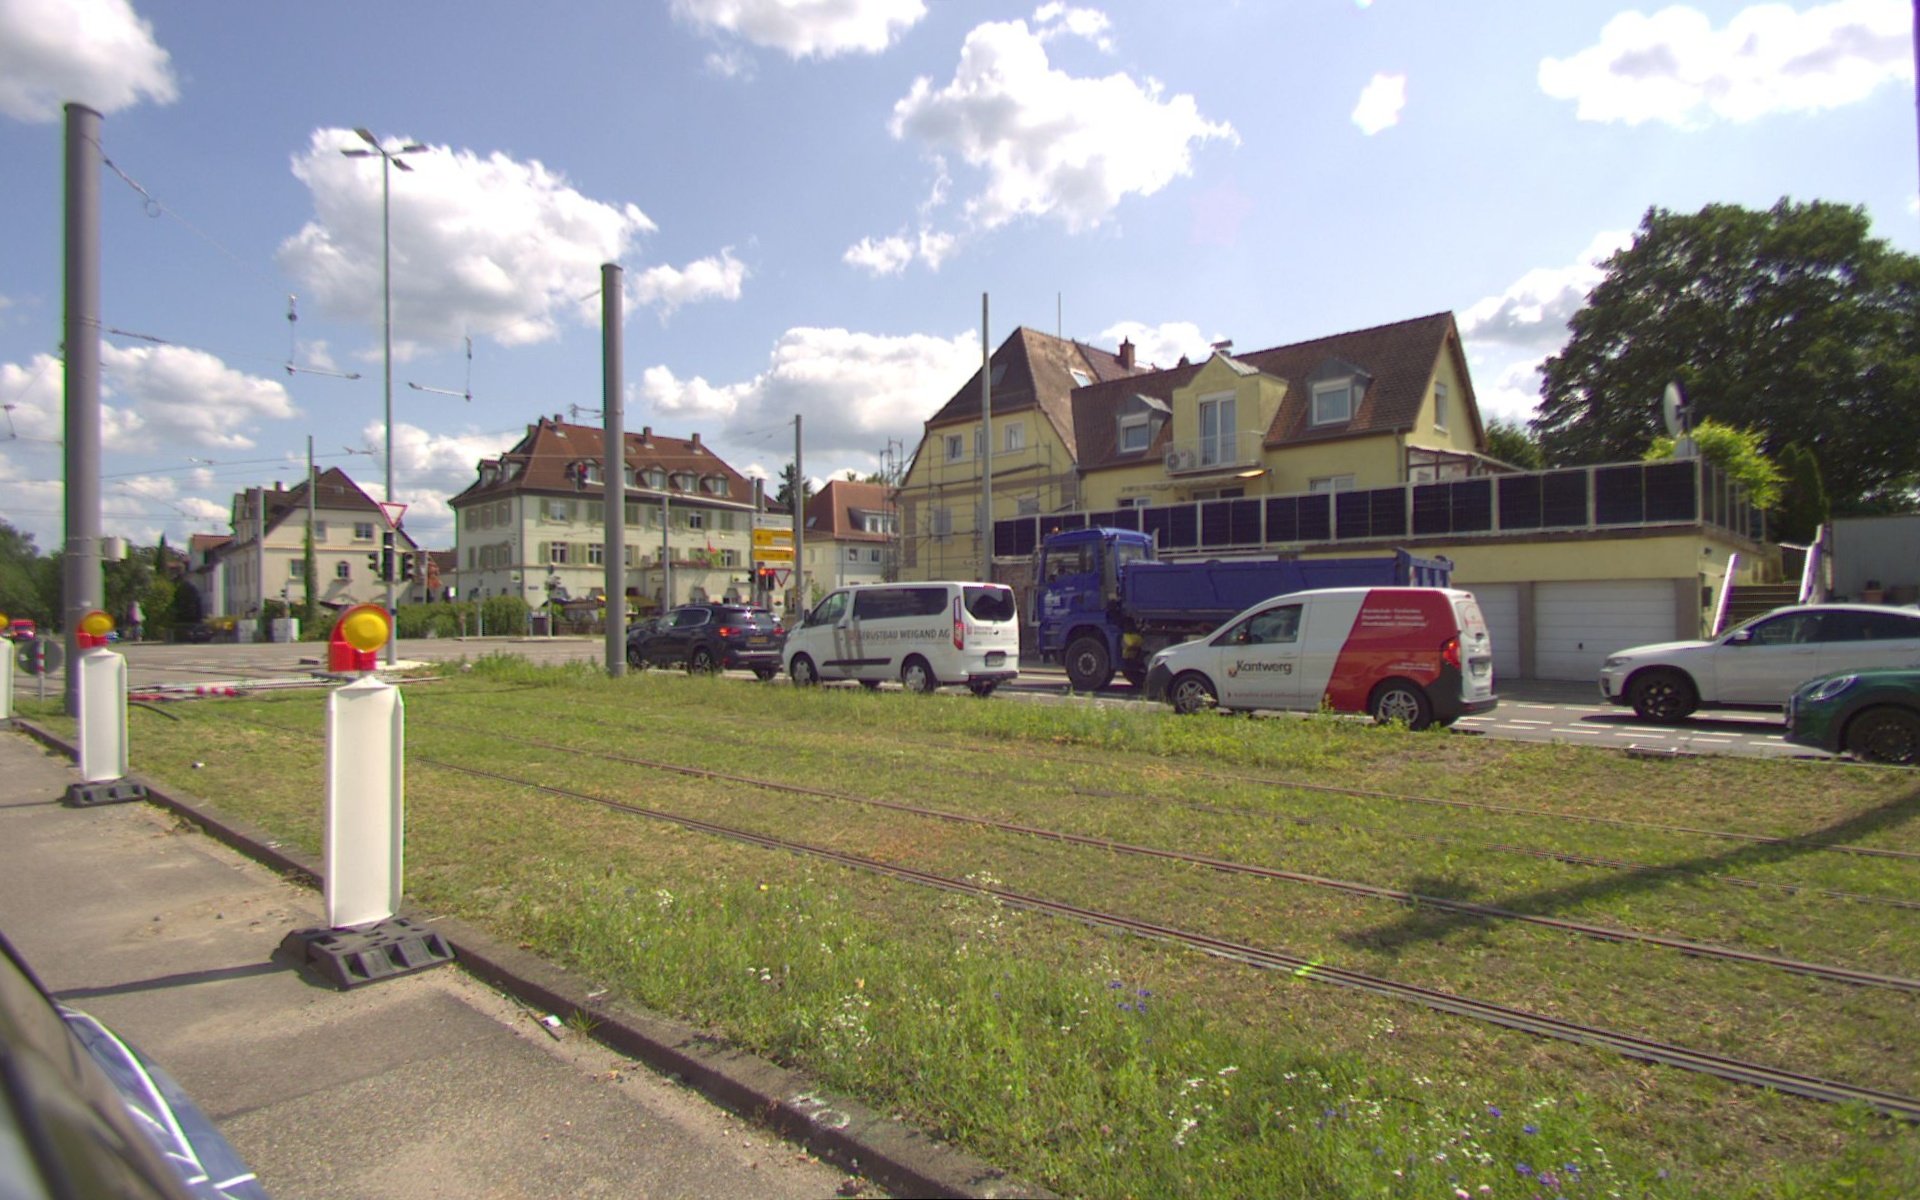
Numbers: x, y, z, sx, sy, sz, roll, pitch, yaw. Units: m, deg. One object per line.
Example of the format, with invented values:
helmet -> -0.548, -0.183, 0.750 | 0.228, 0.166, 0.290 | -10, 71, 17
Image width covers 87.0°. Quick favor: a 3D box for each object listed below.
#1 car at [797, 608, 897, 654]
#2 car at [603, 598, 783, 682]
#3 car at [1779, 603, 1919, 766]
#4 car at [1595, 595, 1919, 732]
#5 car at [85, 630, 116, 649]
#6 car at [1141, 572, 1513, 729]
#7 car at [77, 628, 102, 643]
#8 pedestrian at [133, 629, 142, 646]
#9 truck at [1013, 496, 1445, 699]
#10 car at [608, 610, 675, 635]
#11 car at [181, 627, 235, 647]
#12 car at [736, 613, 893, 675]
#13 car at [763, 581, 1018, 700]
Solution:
car -> -4.239, 1.136, 38.392 | 1.178, 1.504, 4.094 | -2, 0, 39
car -> -6.138, 0.886, 22.980 | 4.438, 1.734, 1.768 | -2, -2, 41
car -> 9.852, 0.735, 8.964 | 3.996, 1.429, 1.896 | -1, -1, 39
car -> 11.434, 0.795, 13.823 | 4.435, 1.672, 1.824 | -1, -1, 41
car -> -67.596, 3.108, 79.604 | 1.685, 1.473, 3.157 | 0, -2, -43
car -> 4.813, 0.621, 13.647 | 4.400, 1.795, 1.715 | -1, -1, 39
car -> -79.685, 3.212, 92.649 | 1.684, 1.306, 3.924 | 0, -2, -40
pedestrian -> -75.191, 3.399, 92.535 | 0.622, 1.547, 0.620 | 0, -2, -34
truck -> 4.879, 0.017, 19.450 | 7.574, 3.212, 2.741 | -1, -1, 39
car -> -20.954, 1.473, 66.723 | 1.747, 1.596, 3.869 | -1, -1, 43
car -> -56.257, 2.732, 75.761 | 1.733, 1.397, 4.112 | -1, -1, -13
car -> -3.949, 1.119, 27.055 | 4.333, 1.498, 1.808 | -1, -1, 42
car -> -1.376, 0.705, 18.644 | 4.743, 1.936, 1.796 | -1, -1, 39
